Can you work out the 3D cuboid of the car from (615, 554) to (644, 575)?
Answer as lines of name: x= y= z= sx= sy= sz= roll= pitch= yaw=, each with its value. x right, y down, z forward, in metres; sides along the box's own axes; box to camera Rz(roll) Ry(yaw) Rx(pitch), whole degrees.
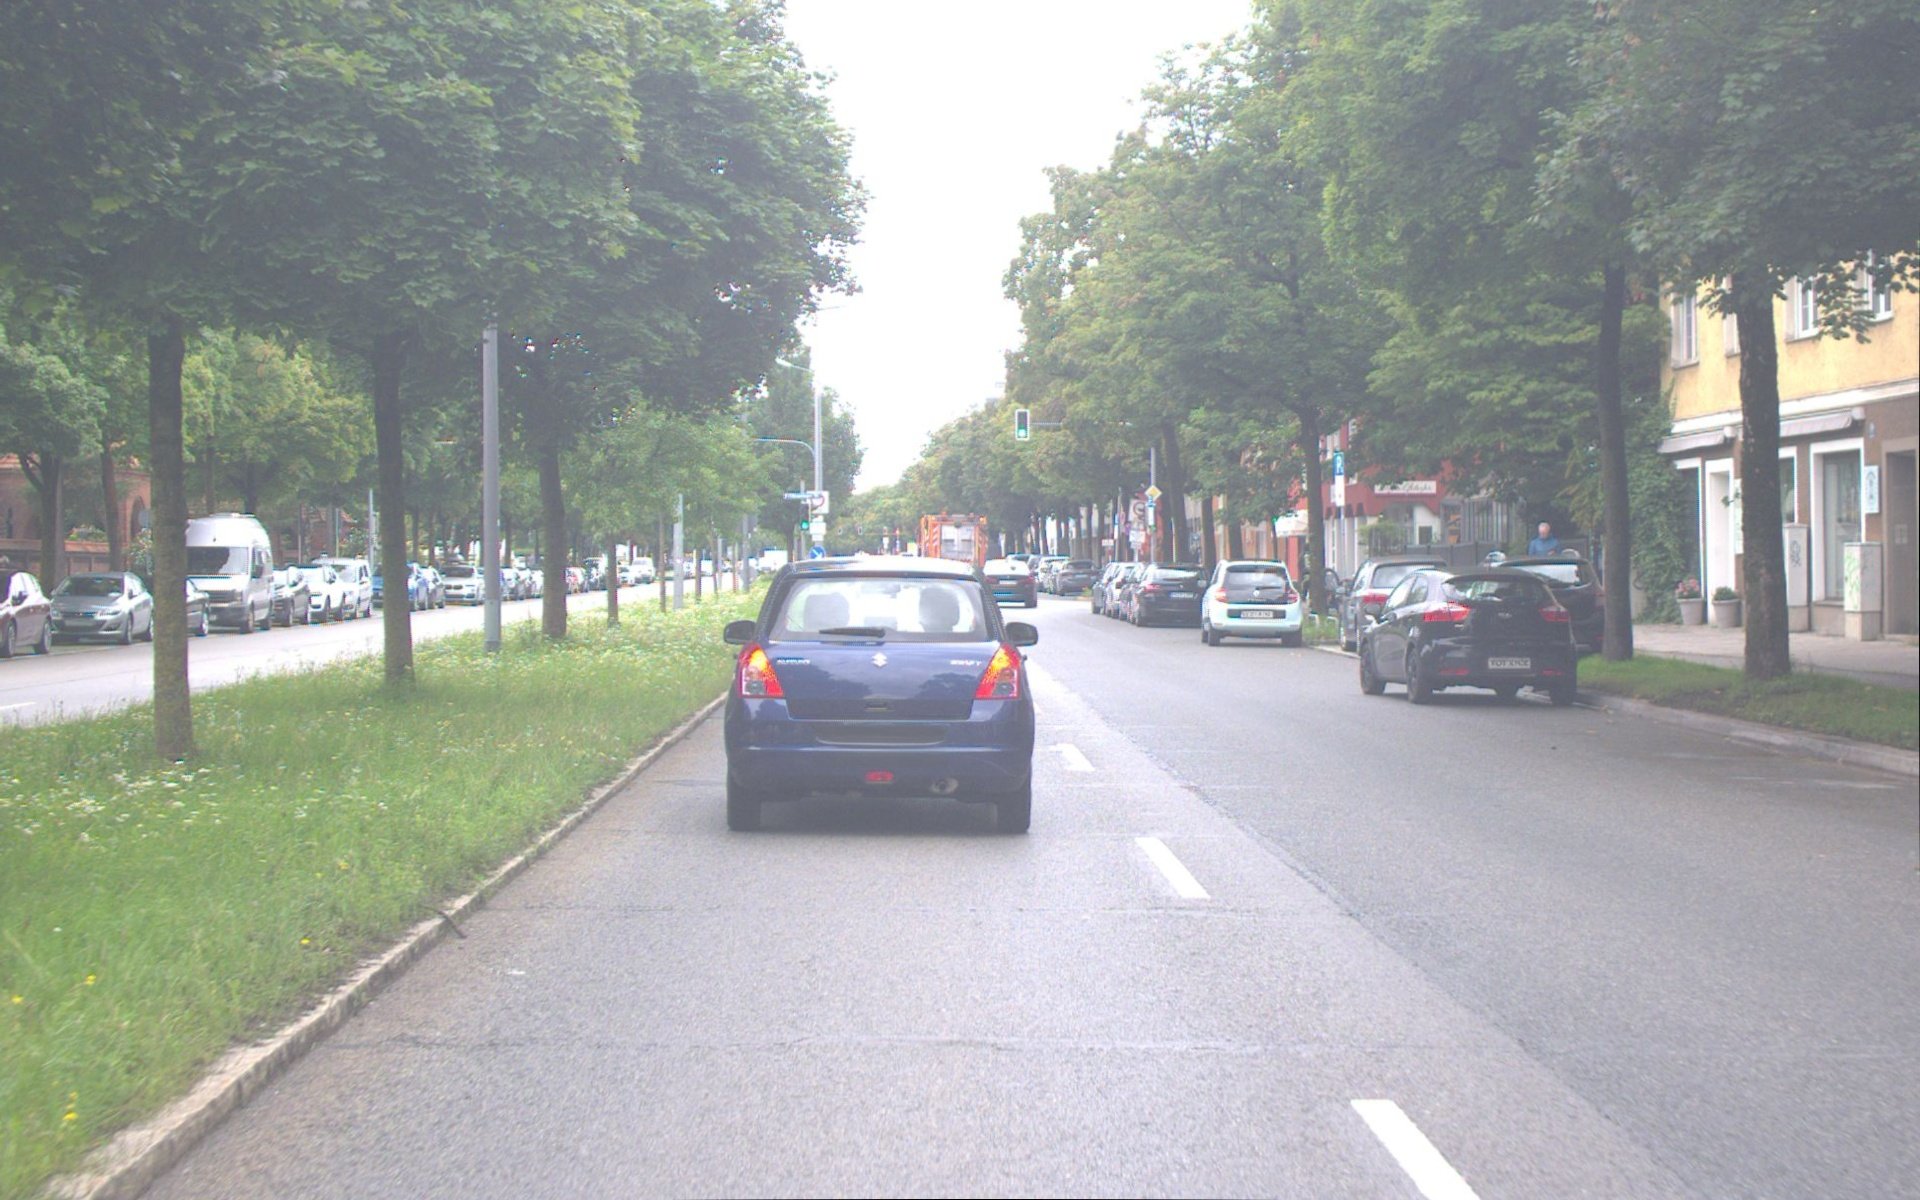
car: x=-24.614 y=-2.671 z=256.150 sx=1.801 sy=1.529 sz=4.000 roll=0 pitch=1 yaw=-1

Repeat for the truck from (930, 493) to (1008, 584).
truck: x=0.324 y=-2.519 z=141.898 sx=3.041 sy=3.545 sz=13.675 roll=0 pitch=1 yaw=0

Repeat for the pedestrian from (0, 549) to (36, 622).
pedestrian: x=-20.407 y=-0.321 z=73.791 sx=0.775 sy=1.561 sz=0.793 roll=0 pitch=1 yaw=35

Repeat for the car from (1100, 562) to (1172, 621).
car: x=4.510 y=-0.241 z=88.615 sx=1.695 sy=1.447 sz=4.123 roll=0 pitch=1 yaw=1

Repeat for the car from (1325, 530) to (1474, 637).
car: x=7.057 y=-0.292 z=55.540 sx=1.815 sy=1.620 sz=4.308 roll=-1 pitch=1 yaw=0

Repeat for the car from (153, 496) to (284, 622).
car: x=-18.083 y=-1.010 z=84.135 sx=2.185 sy=2.943 sz=6.193 roll=1 pitch=1 yaw=-4

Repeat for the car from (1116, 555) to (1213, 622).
car: x=4.630 y=-0.287 z=78.325 sx=1.653 sy=1.447 sz=4.709 roll=-1 pitch=1 yaw=-3

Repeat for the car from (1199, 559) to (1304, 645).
car: x=5.269 y=0.015 z=61.823 sx=1.654 sy=1.447 sz=3.999 roll=-1 pitch=1 yaw=8

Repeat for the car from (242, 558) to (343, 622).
car: x=-18.619 y=-0.302 z=96.122 sx=2.185 sy=1.730 sz=4.579 roll=1 pitch=1 yaw=-4

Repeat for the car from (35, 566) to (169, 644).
car: x=-17.776 y=0.079 z=71.402 sx=1.813 sy=1.531 sz=4.442 roll=1 pitch=1 yaw=-2

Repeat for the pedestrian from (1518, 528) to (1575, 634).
pedestrian: x=10.449 y=-0.344 z=61.291 sx=0.792 sy=1.849 sz=0.777 roll=-2 pitch=1 yaw=-4

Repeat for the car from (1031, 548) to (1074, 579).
car: x=4.660 y=-1.839 z=173.544 sx=1.993 sy=1.525 sz=4.000 roll=0 pitch=1 yaw=-1

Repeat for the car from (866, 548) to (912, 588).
car: x=-2.709 y=-1.221 z=130.565 sx=1.718 sy=1.495 sz=4.301 roll=0 pitch=1 yaw=-1

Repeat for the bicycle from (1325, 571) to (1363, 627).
bicycle: x=6.944 y=-0.025 z=62.246 sx=0.448 sy=0.977 sz=1.799 roll=0 pitch=1 yaw=-1

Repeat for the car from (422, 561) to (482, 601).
car: x=-19.574 y=-0.748 z=132.643 sx=1.801 sy=1.529 sz=4.000 roll=0 pitch=1 yaw=-1

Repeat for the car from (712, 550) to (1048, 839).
car: x=-0.428 y=0.465 z=19.967 sx=1.753 sy=1.499 sz=4.000 roll=0 pitch=1 yaw=0

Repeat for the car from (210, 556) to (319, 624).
car: x=-18.337 y=-0.291 z=90.811 sx=2.185 sy=1.730 sz=4.579 roll=1 pitch=1 yaw=-4

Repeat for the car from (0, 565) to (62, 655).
car: x=-17.558 y=0.156 z=61.844 sx=1.813 sy=1.531 sz=4.299 roll=1 pitch=1 yaw=-2

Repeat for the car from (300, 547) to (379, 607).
car: x=-18.380 y=-0.698 z=101.954 sx=1.706 sy=1.728 sz=4.000 roll=0 pitch=1 yaw=-1

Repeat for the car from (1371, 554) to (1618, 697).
car: x=5.711 y=0.234 z=37.198 sx=1.993 sy=1.447 sz=4.000 roll=0 pitch=1 yaw=-1

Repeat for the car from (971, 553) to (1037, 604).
car: x=1.321 y=-0.684 z=105.977 sx=1.821 sy=1.472 sz=4.691 roll=2 pitch=1 yaw=-1

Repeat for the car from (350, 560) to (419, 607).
car: x=-19.346 y=-0.555 z=115.695 sx=1.706 sy=1.529 sz=4.000 roll=0 pitch=1 yaw=-1

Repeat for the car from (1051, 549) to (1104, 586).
car: x=4.921 y=-1.368 z=144.468 sx=1.993 sy=1.525 sz=4.000 roll=0 pitch=1 yaw=-1

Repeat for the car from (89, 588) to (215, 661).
car: x=-18.077 y=0.523 z=77.098 sx=1.813 sy=1.531 sz=4.820 roll=1 pitch=1 yaw=-2

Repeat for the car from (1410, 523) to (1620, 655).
car: x=7.168 y=-0.176 z=44.812 sx=1.993 sy=1.637 sz=4.333 roll=0 pitch=1 yaw=-1
